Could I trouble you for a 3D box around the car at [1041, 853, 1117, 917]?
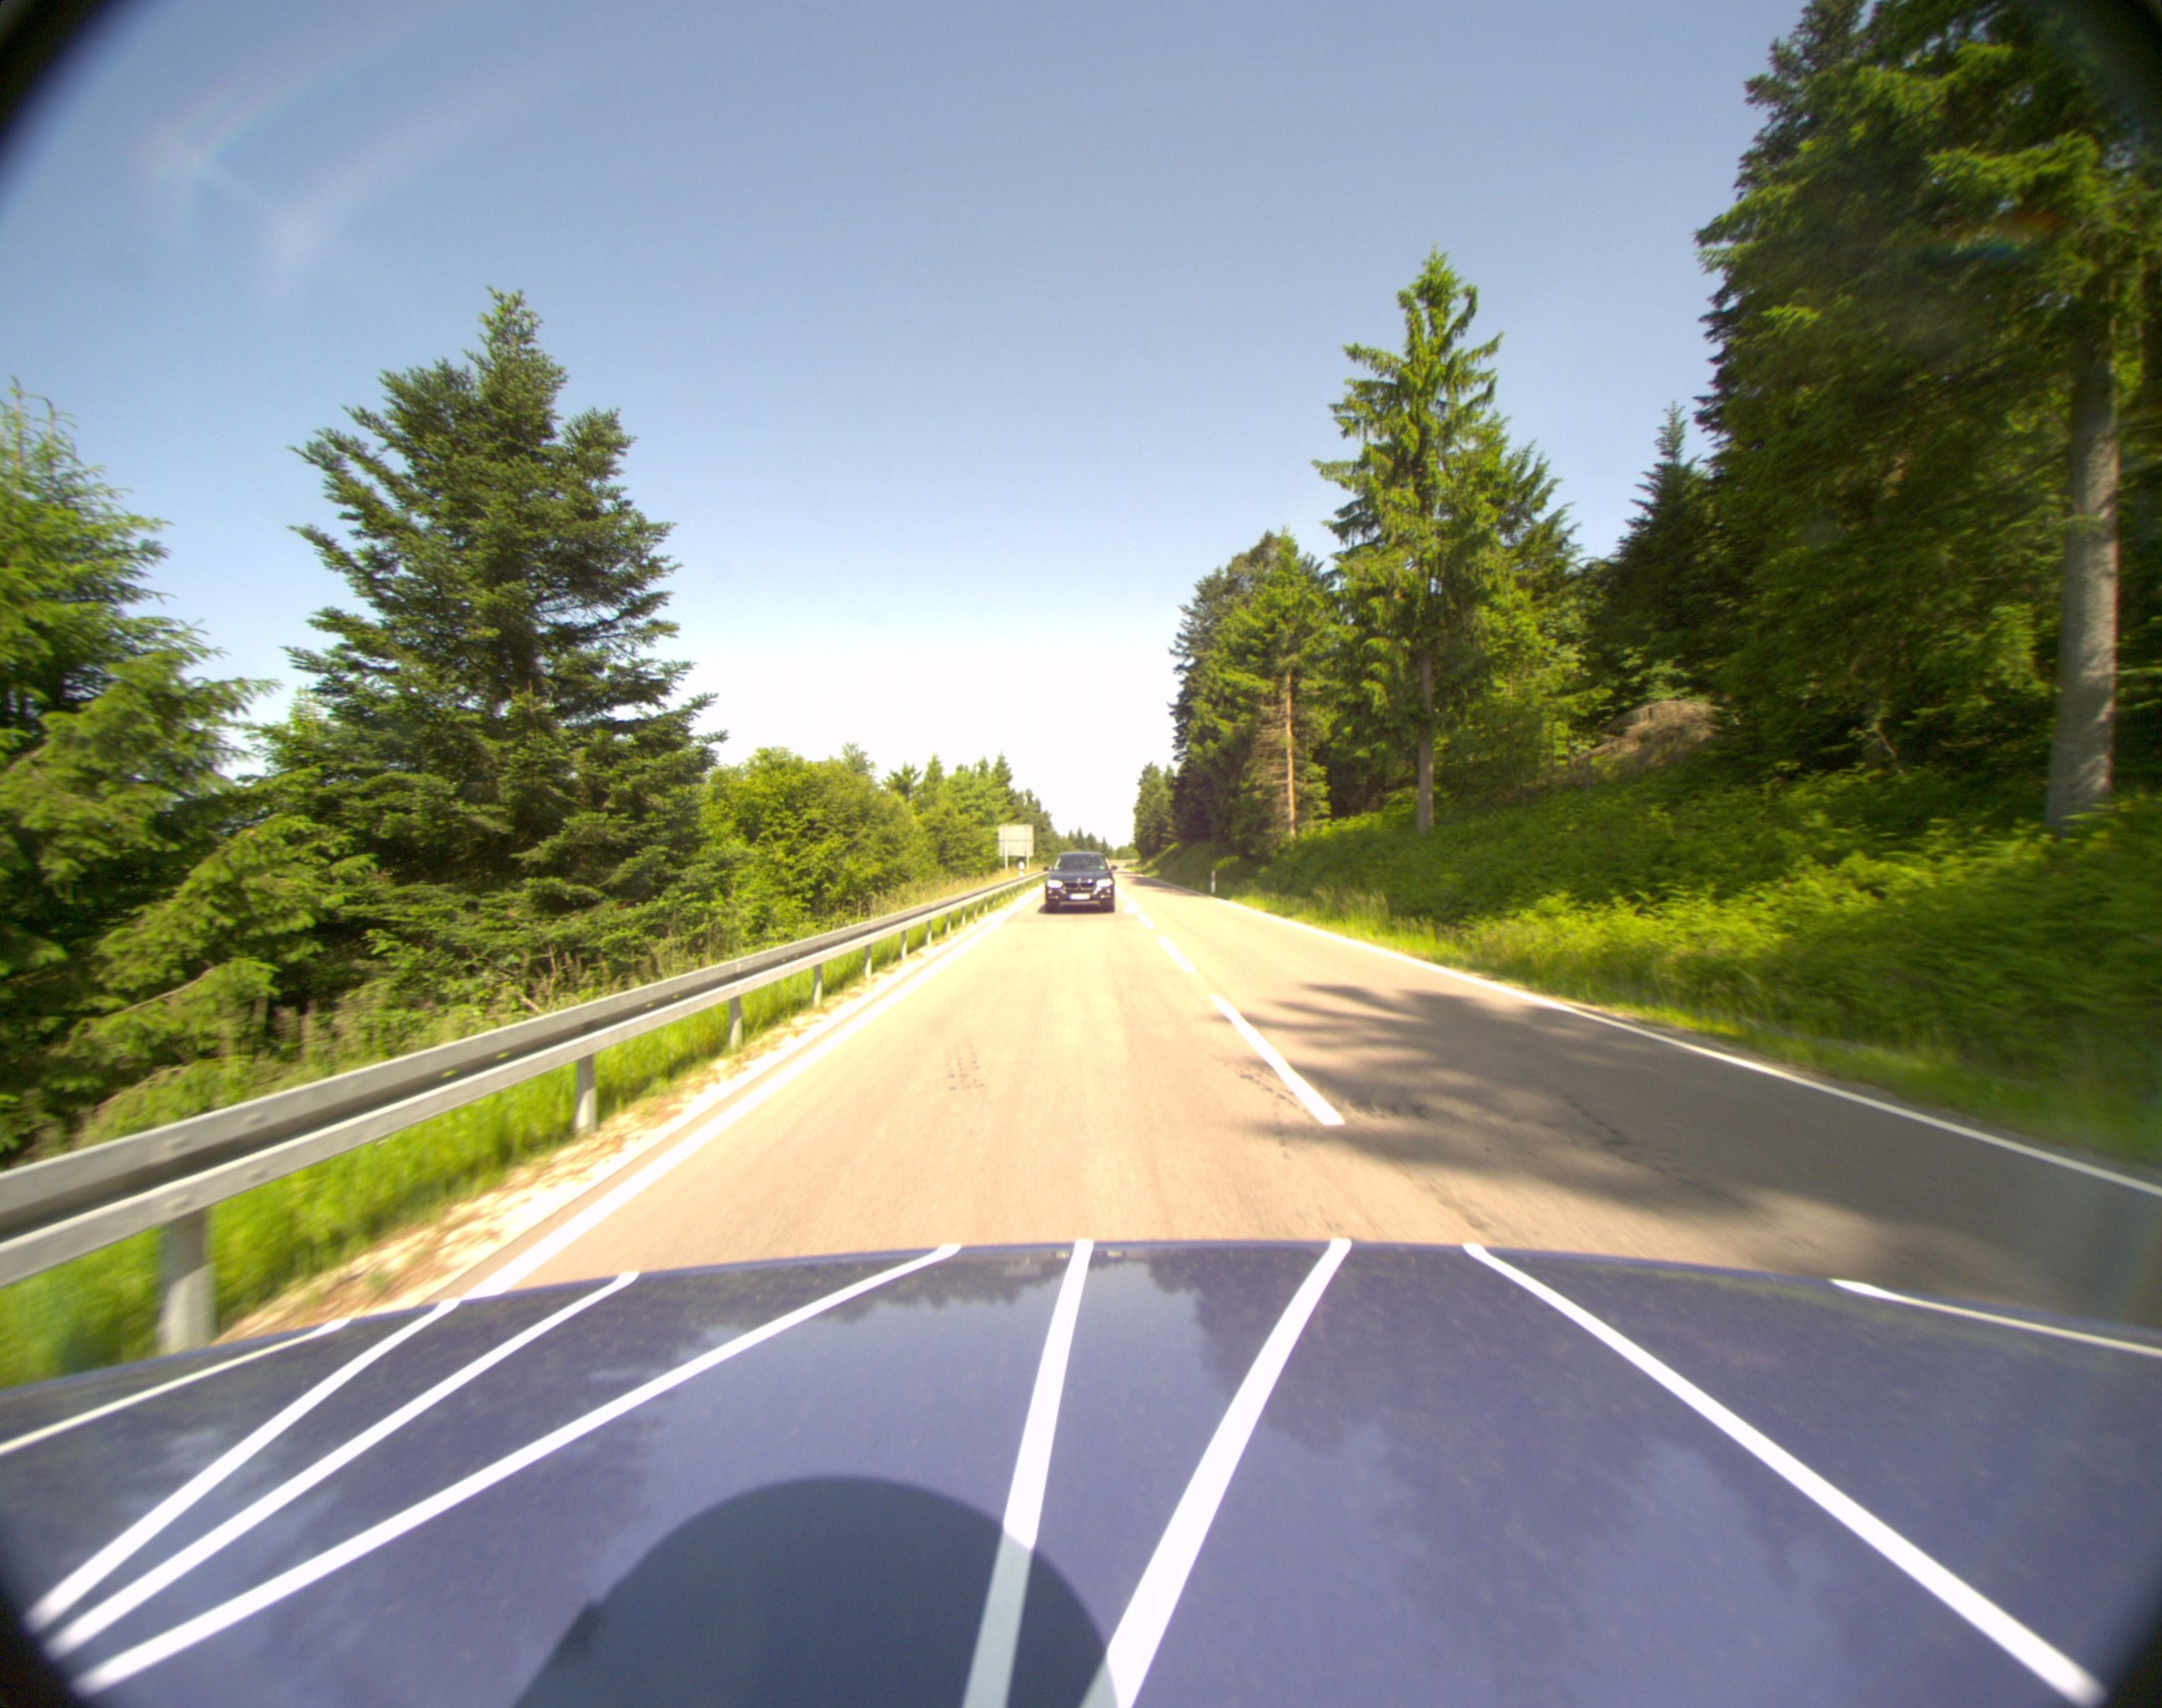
[{"bbox_3d":[-0.070,0.837,23.019,1.999,1.676,5.936,0,0,0],"label":"car"}]
